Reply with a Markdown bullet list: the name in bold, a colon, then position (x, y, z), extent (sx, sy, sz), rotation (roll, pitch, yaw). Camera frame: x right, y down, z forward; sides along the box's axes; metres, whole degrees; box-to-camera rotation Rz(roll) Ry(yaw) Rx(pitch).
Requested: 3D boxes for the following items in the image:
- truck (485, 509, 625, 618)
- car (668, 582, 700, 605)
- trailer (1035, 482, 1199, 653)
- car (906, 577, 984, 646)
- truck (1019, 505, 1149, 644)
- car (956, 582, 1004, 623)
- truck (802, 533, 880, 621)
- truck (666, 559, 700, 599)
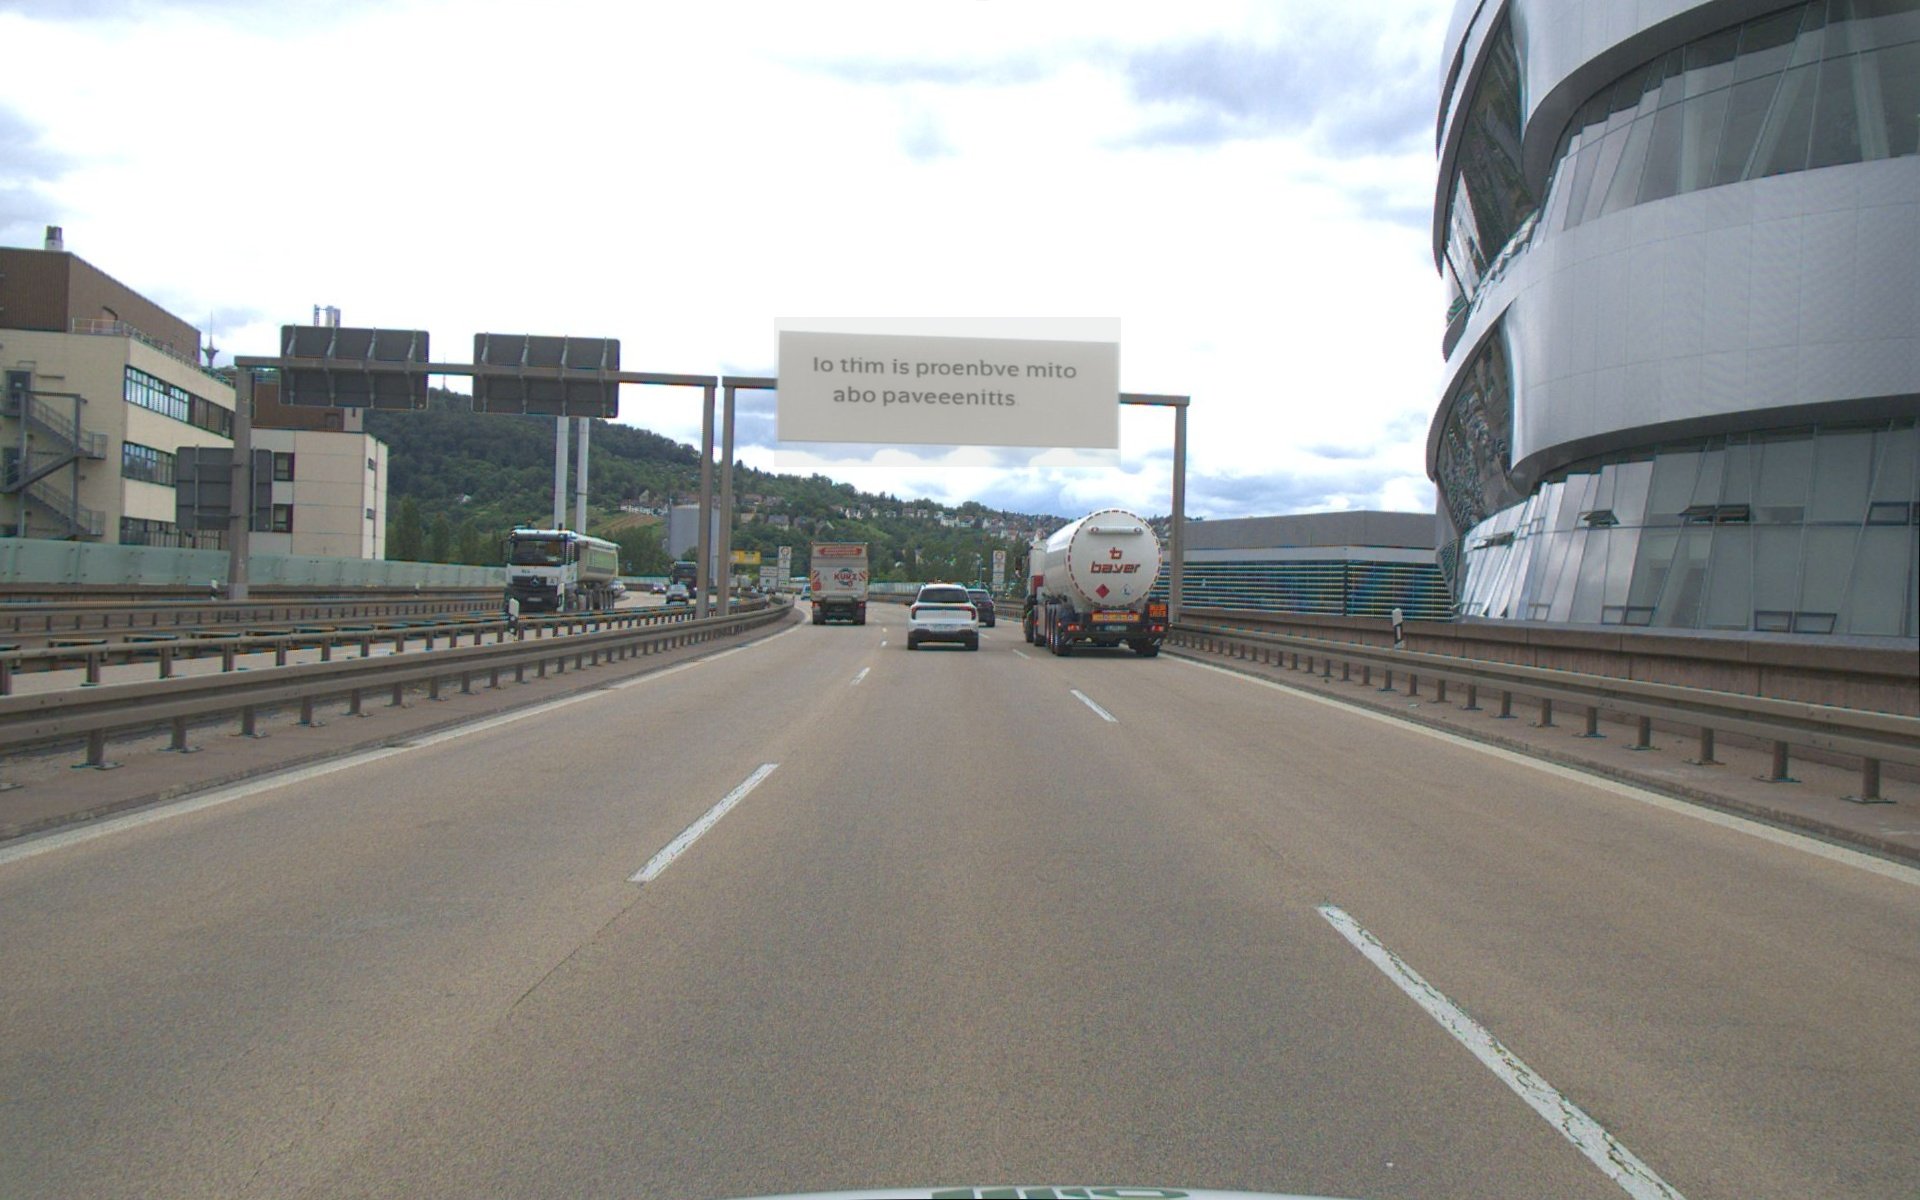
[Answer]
- **truck**: position (-15.651, -1.275, 65.069), extent (2.996, 3.842, 12.511), rotation (1, 0, -3)
- **car**: position (-20.937, -0.451, 125.703), extent (1.954, 1.704, 4.404), rotation (1, 0, -4)
- **trailer**: position (3.767, -0.718, 41.784), extent (2.995, 3.856, 8.300), rotation (1, 0, -2)
- **car**: position (-0.399, 0.302, 43.721), extent (1.953, 1.704, 4.407), rotation (1, 0, -1)
- **truck**: position (3.474, -0.670, 47.752), extent (2.954, 3.721, 6.269), rotation (1, 0, -3)
- **car**: position (0.868, 0.118, 73.194), extent (1.953, 1.704, 4.406), rotation (1, 0, -2)
- **truck**: position (-5.334, -0.967, 75.419), extent (2.994, 3.755, 8.302), rotation (1, 0, 0)
- **truck**: position (-28.150, -2.056, 168.590), extent (2.757, 3.876, 12.002), rotation (1, 0, -7)
